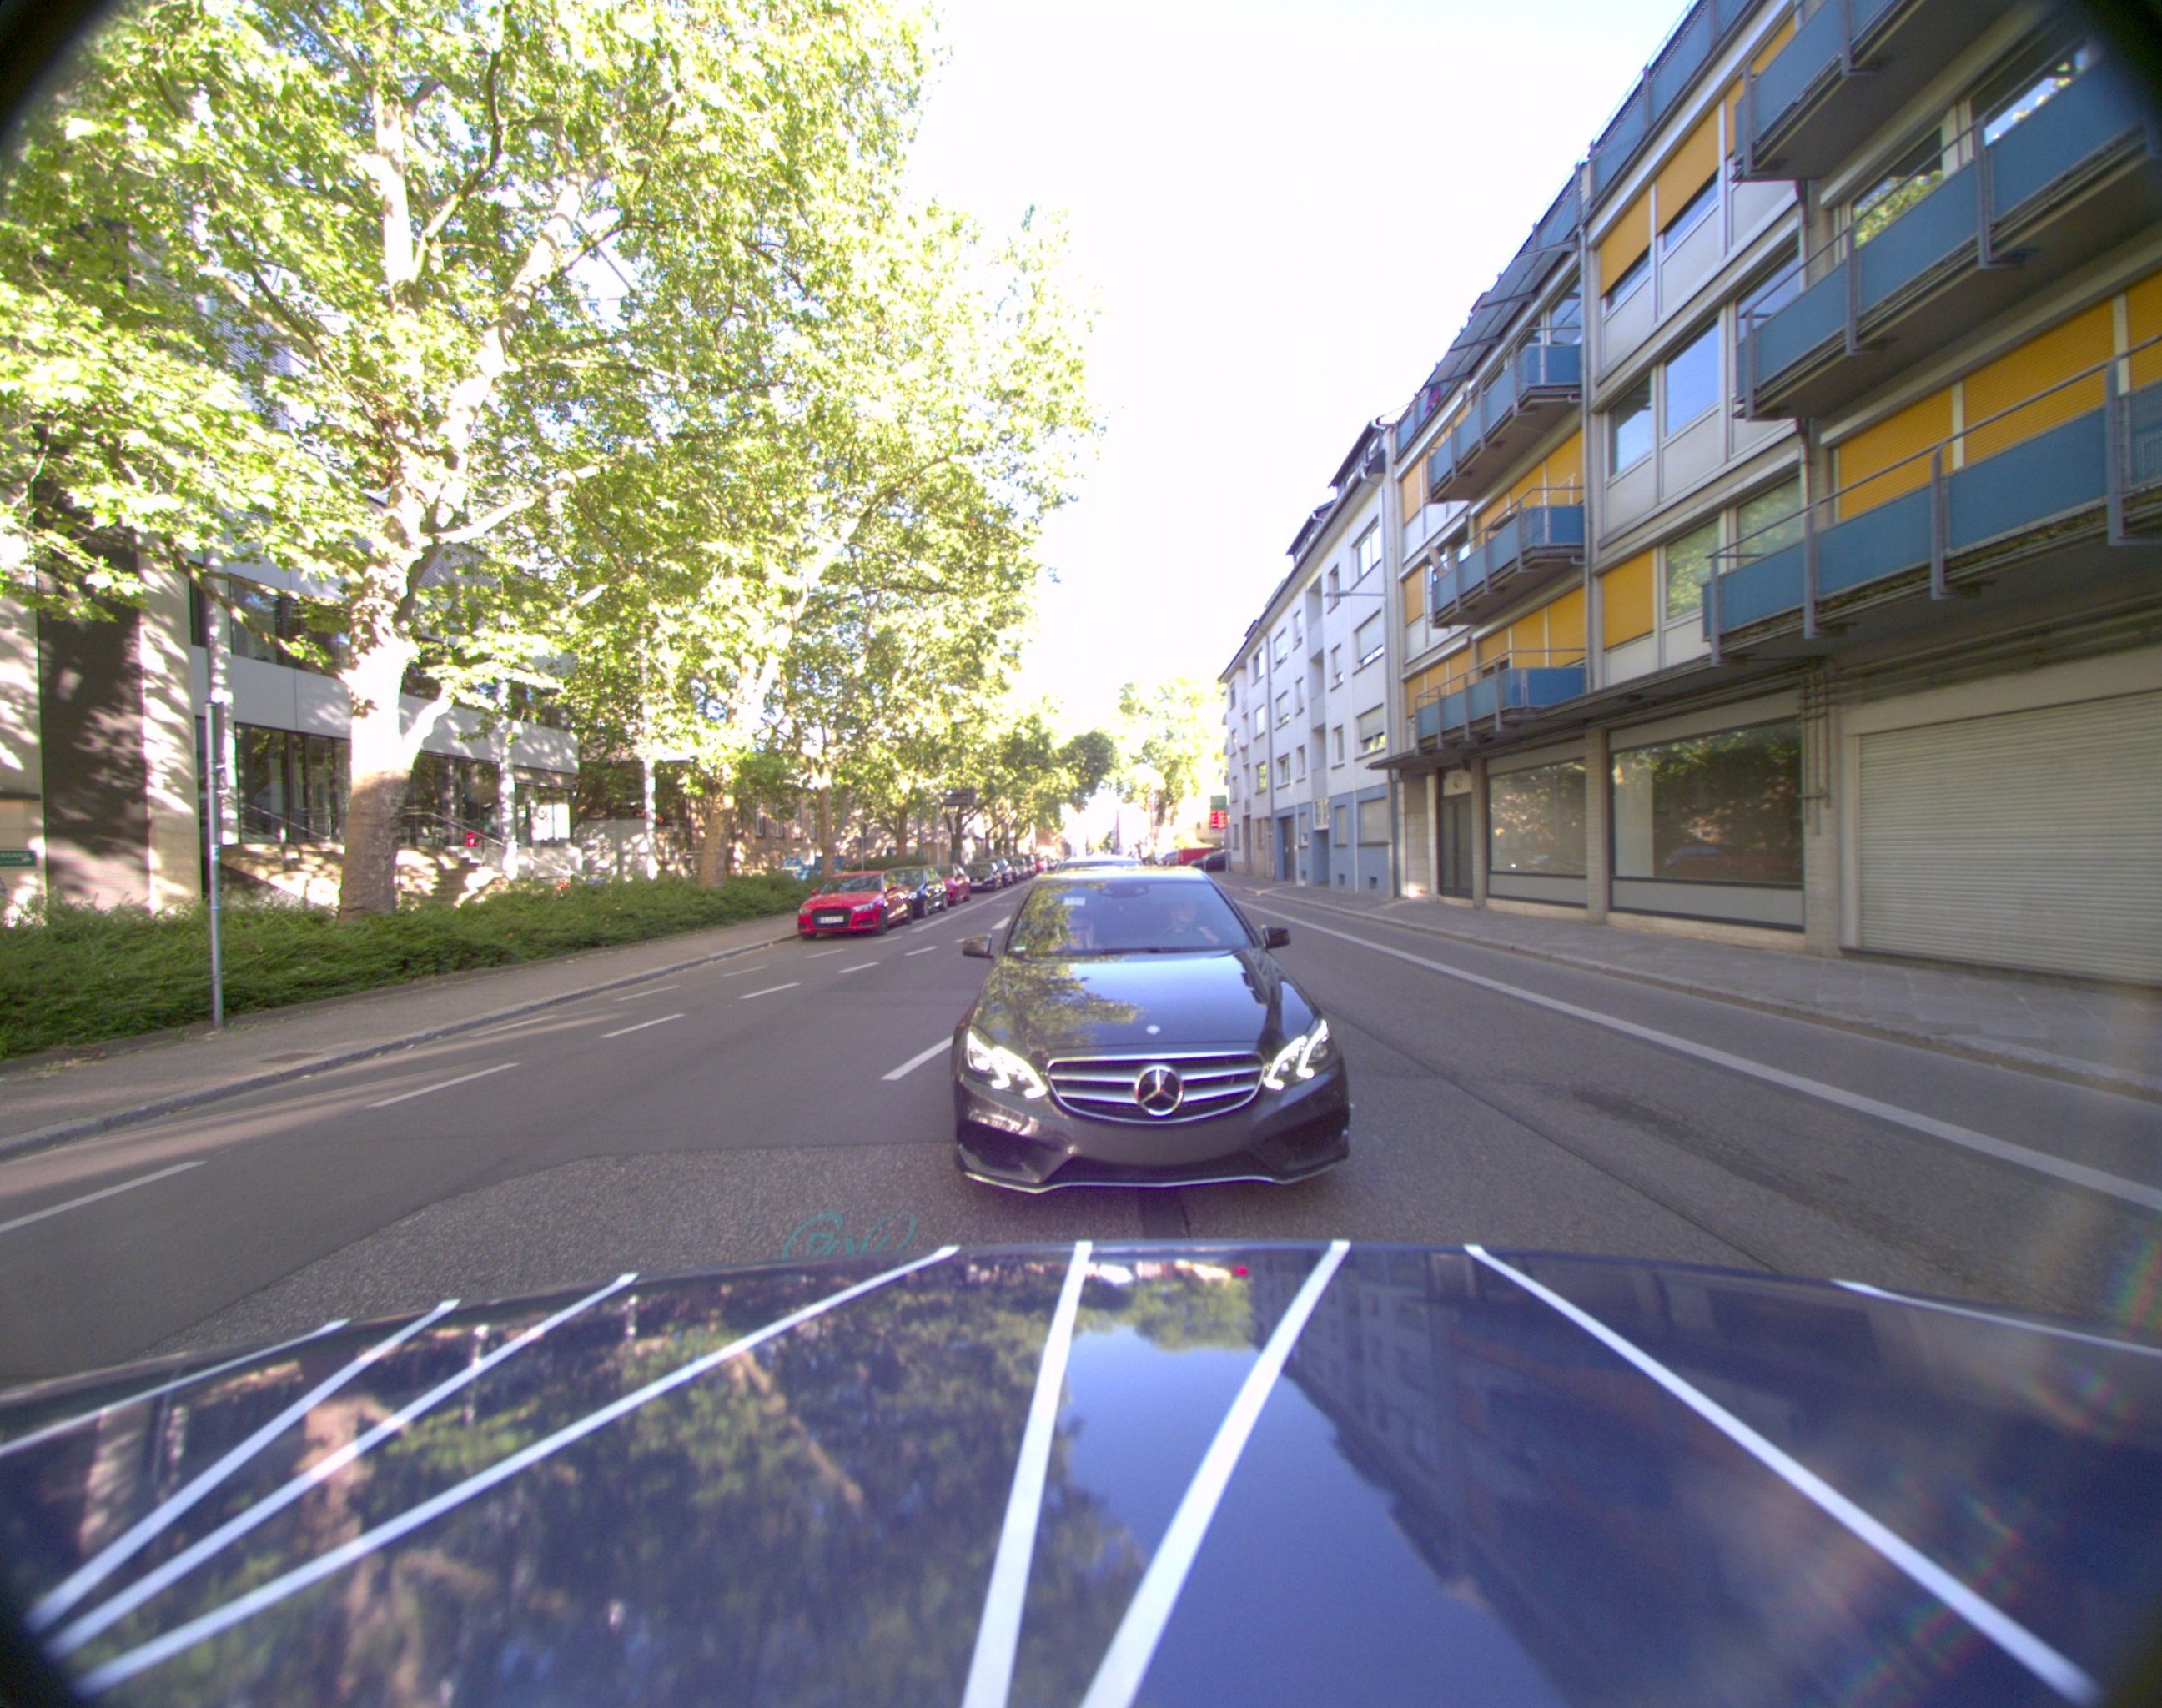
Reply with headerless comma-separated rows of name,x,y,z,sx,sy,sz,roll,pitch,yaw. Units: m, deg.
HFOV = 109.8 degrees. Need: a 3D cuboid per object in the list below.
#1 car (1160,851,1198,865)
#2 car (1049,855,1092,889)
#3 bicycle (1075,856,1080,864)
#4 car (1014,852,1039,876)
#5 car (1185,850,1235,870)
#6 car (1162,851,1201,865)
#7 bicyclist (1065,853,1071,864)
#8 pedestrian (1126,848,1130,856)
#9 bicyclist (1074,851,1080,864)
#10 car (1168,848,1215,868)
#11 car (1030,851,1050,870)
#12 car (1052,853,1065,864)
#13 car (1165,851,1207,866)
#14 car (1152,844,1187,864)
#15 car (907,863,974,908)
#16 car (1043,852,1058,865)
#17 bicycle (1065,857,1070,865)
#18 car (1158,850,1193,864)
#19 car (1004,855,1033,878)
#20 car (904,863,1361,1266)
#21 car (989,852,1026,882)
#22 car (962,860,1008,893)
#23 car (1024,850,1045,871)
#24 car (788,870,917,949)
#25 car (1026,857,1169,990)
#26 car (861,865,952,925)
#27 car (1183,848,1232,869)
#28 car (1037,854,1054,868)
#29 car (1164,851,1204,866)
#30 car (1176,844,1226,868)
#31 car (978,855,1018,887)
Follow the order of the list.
car,10.523,0.402,82.117,3.905,1.325,1.525,-2,1,2
car,-0.448,0.814,36.270,1.693,1.432,3.902,-3,0,3
bicycle,-0.554,0.869,107.473,0.667,1.093,1.814,-2,1,0
car,-4.223,0.754,59.355,1.663,1.704,3.836,-2,0,0
car,9.954,0.458,58.716,3.598,1.401,1.534,-2,0,2
car,10.514,0.429,79.728,3.905,1.325,1.525,-2,1,2
bicyclist,-1.820,0.572,104.505,0.756,1.512,0.768,-2,1,-1
pedestrian,12.817,-0.441,208.242,0.884,2.108,0.821,-2,1,4
bicyclist,-0.601,0.519,107.465,0.756,1.714,0.768,-2,1,-1
car,9.709,0.331,66.761,3.905,1.577,1.603,-2,1,2
car,-4.104,0.638,76.003,1.686,1.749,3.836,-2,0,0
car,-3.135,0.653,106.814,1.686,1.475,3.836,-2,0,0
car,10.367,0.453,74.952,3.905,1.366,1.594,-2,1,2
car,10.394,0.027,89.295,3.905,2.164,1.725,-2,1,2
car,-5.014,1.093,27.590,1.666,1.426,3.781,-2,0,0
car,-3.797,0.601,95.672,1.686,1.546,3.836,-2,0,0
bicycle,-1.832,0.943,104.512,0.667,1.093,1.814,-2,1,0
car,10.534,0.334,84.802,3.782,1.432,1.539,-2,1,2
car,-4.431,0.876,54.499,1.686,1.552,3.868,-2,0,0
car,0.208,0.894,5.269,1.828,1.495,4.293,-2,1,0
car,-4.600,0.772,48.175,1.819,1.758,4.431,-2,0,0
car,-4.671,1.047,37.390,1.686,1.443,4.000,-2,0,0
car,-4.258,0.591,70.212,1.646,1.839,3.836,-2,0,0
car,-5.136,1.188,17.646,1.724,1.412,4.030,-4,0,-1
car,0.200,0.879,11.644,1.732,1.538,4.293,-2,1,0
car,-5.017,1.128,22.405,1.686,1.458,4.000,-3,0,0
car,10.123,0.357,61.121,3.668,1.501,1.602,-2,1,2
car,-4.058,0.748,87.049,1.639,1.493,3.752,-2,0,0
car,10.398,0.429,76.974,3.905,1.366,1.594,-2,1,2
car,10.068,0.166,63.966,3.905,1.895,1.749,-2,1,2
car,-4.543,0.908,42.049,1.686,1.610,3.836,-2,0,0
